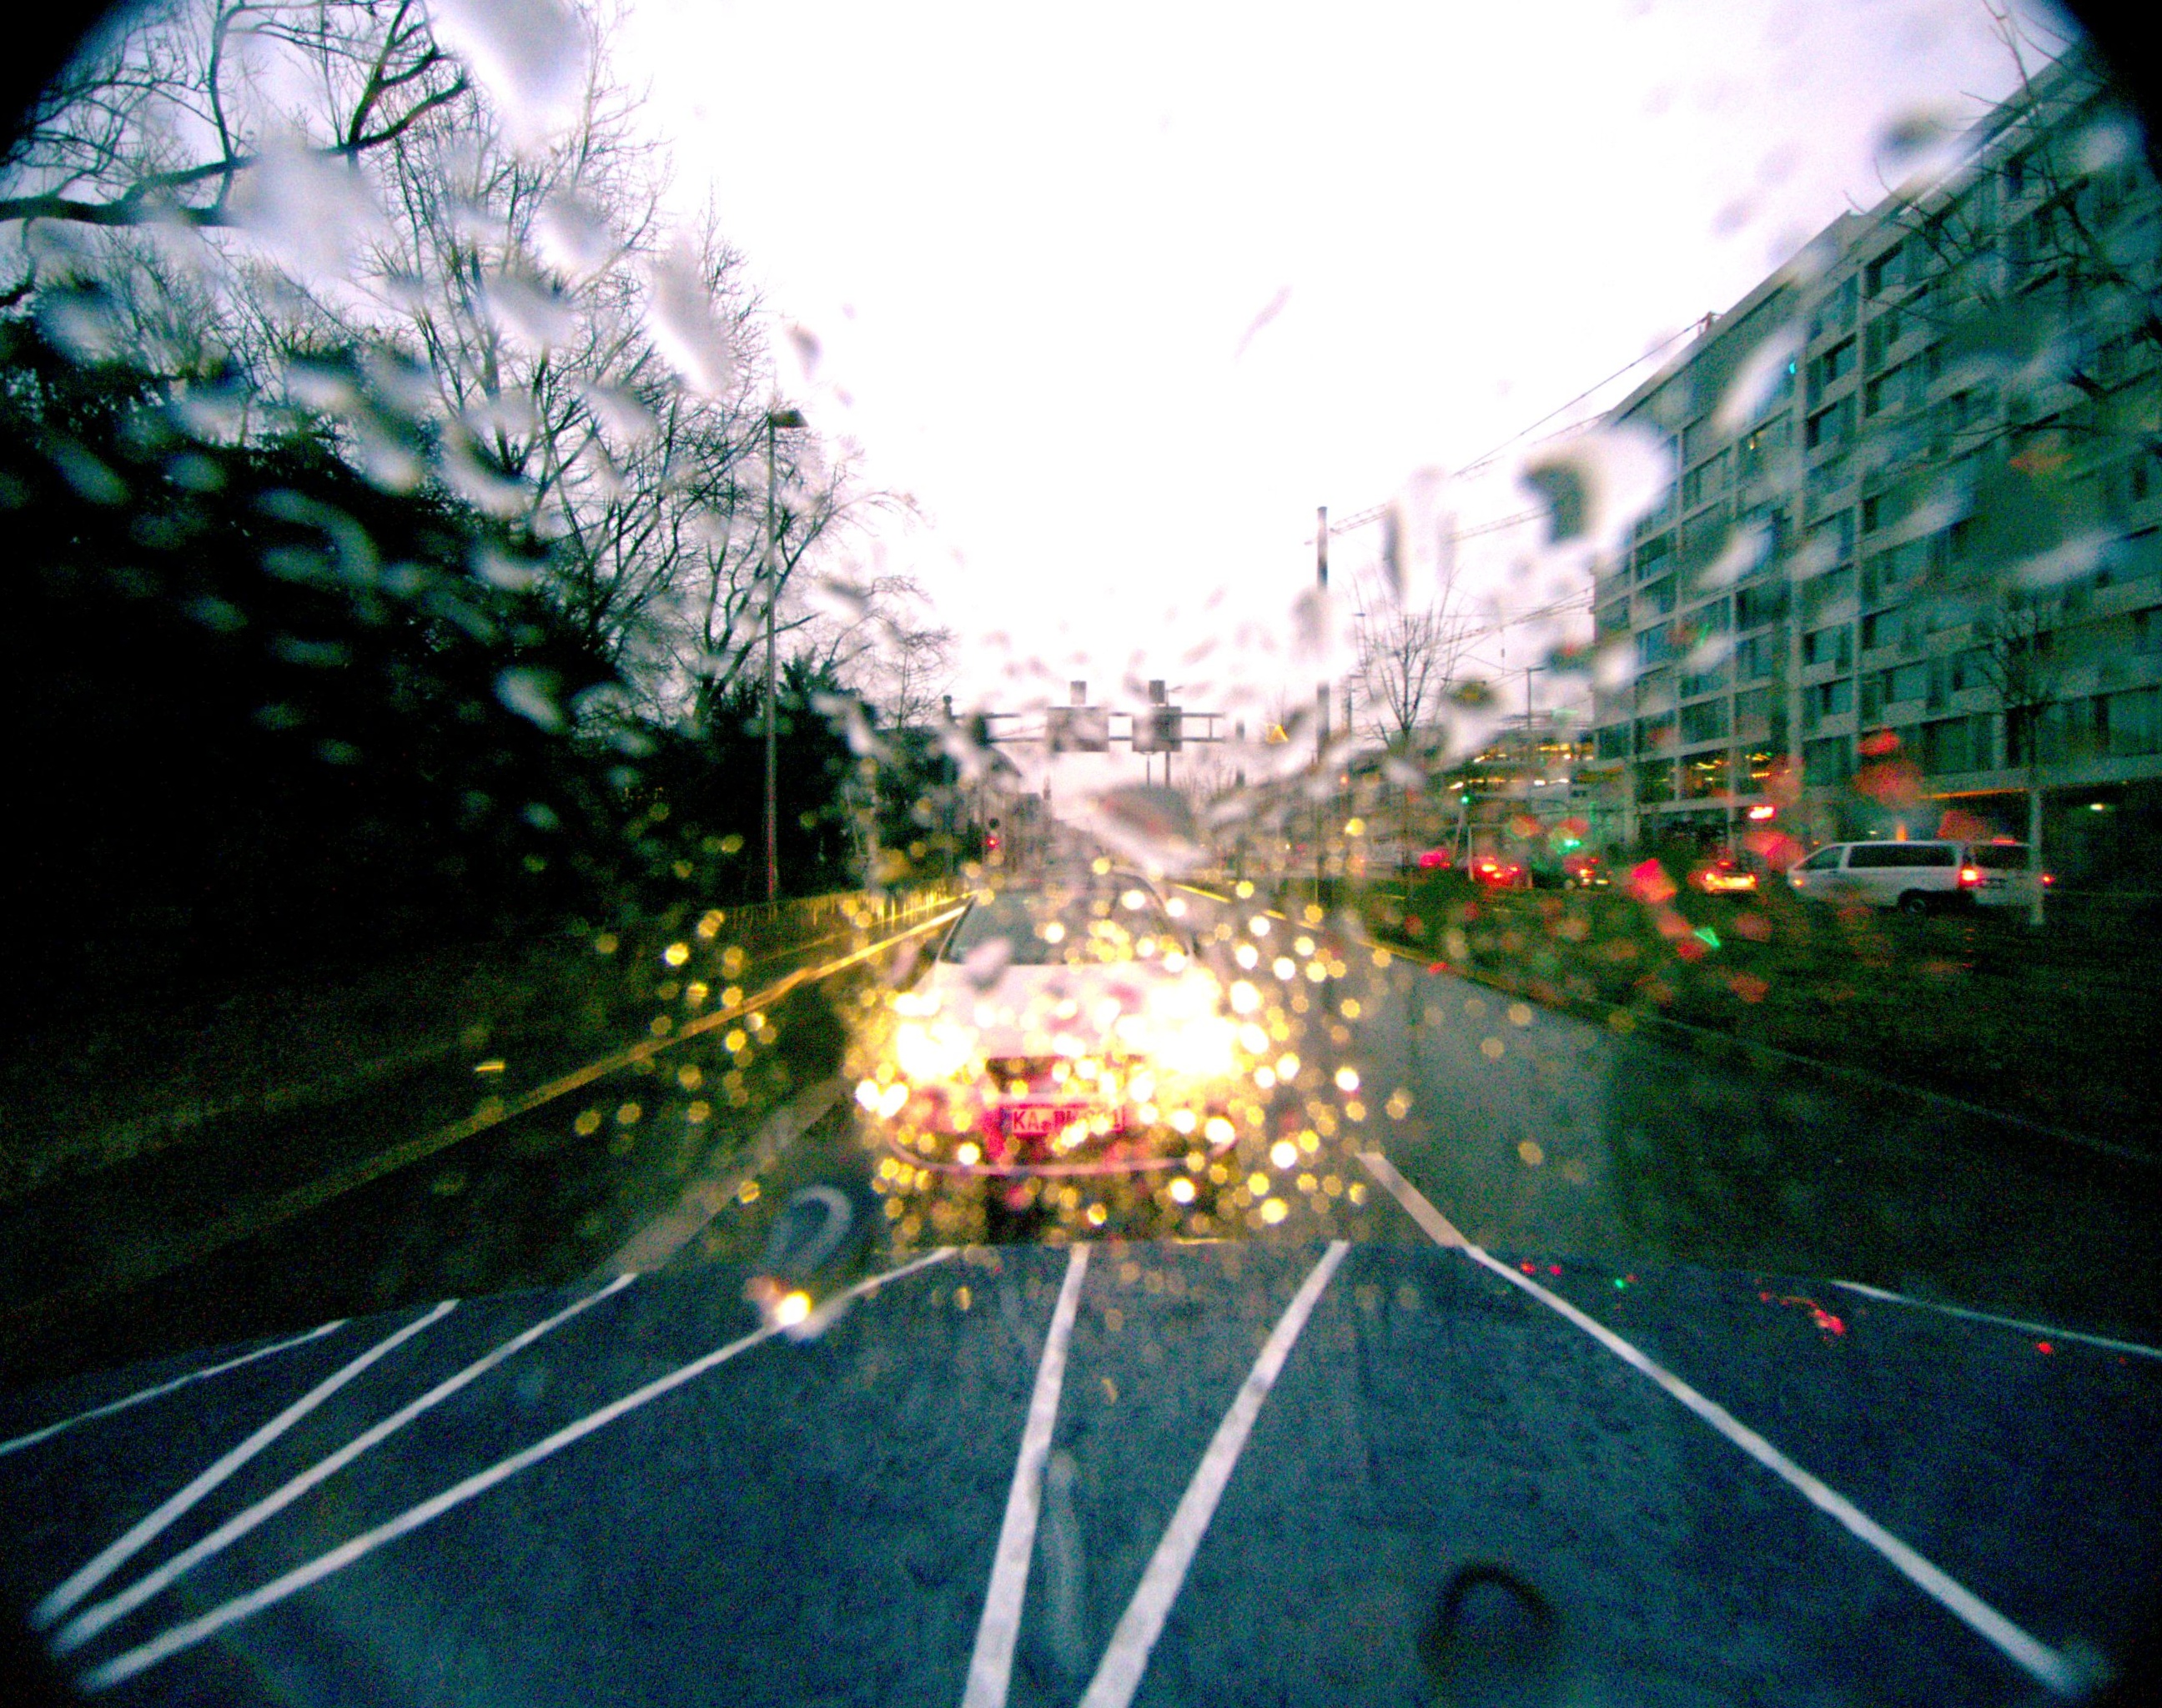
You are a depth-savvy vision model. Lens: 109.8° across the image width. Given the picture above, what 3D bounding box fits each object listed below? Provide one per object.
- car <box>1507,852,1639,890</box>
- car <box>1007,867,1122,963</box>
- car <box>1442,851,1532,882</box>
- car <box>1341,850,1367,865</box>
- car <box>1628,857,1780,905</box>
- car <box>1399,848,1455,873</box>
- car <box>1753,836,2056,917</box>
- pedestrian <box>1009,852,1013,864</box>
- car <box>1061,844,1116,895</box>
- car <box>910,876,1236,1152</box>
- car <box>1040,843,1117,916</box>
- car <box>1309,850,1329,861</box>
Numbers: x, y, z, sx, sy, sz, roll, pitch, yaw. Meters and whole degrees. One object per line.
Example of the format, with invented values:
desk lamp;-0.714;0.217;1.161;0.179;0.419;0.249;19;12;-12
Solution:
car;20.497;0.666;31.898;2.001;1.488;4.444;0;0;-15
car;-0.253;0.974;13.679;1.728;1.318;3.981;-2;1;0
car;20.525;0.573;38.659;1.998;1.459;5.034;0;0;1
car;31.806;0.412;88.661;1.899;1.709;4.919;0;0;8
car;20.361;0.838;25.053;1.901;1.423;3.705;0;0;-3
car;25.057;0.449;55.261;1.900;1.709;4.916;0;0;1
car;19.828;0.472;18.761;1.901;1.709;5.117;0;0;0
pedestrian;-8.995;0.503;97.585;0.521;1.501;0.588;0;1;1
car;0.253;0.505;27.357;1.781;1.666;3.981;-2;1;0
car;-0.043;0.960;6.276;1.798;1.363;3.981;-2;1;0
car;-0.055;0.580;19.916;1.781;1.666;3.981;-2;1;0
car;36.575;0.256;116.895;1.900;1.709;4.918;0;0;5
